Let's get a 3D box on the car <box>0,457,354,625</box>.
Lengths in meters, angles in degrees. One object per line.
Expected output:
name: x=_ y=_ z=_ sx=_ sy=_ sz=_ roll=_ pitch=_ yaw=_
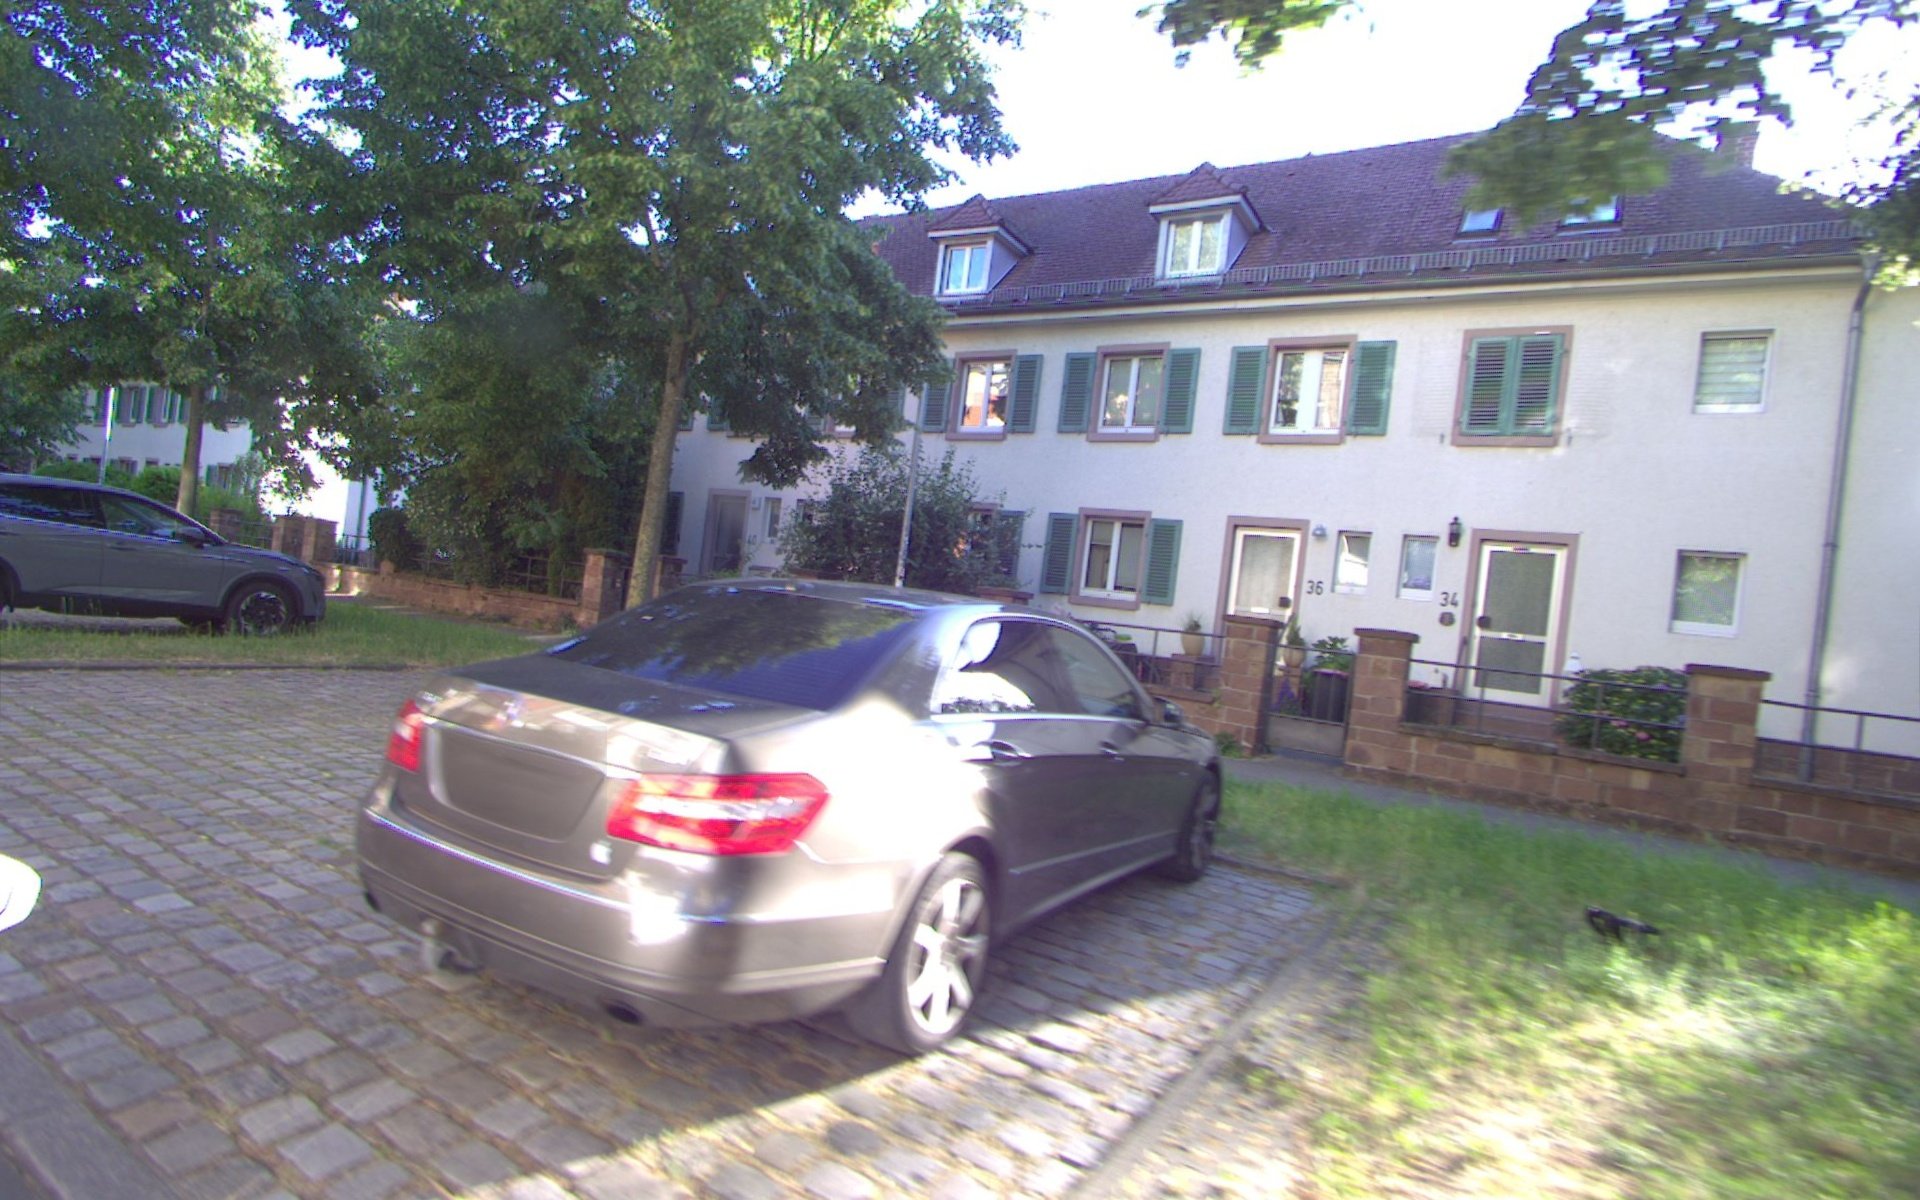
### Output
car: x=-9.695 y=-0.640 z=11.376 sx=1.844 sy=1.655 sz=4.477 roll=7 pitch=2 yaw=31

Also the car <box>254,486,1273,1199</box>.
car: x=-0.108 y=0.573 z=4.681 sx=1.862 sy=1.560 sz=4.839 roll=6 pitch=2 yaw=30

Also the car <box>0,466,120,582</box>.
car: x=-15.773 y=-1.286 z=15.032 sx=1.876 sy=1.700 sz=4.579 roll=7 pitch=2 yaw=33
